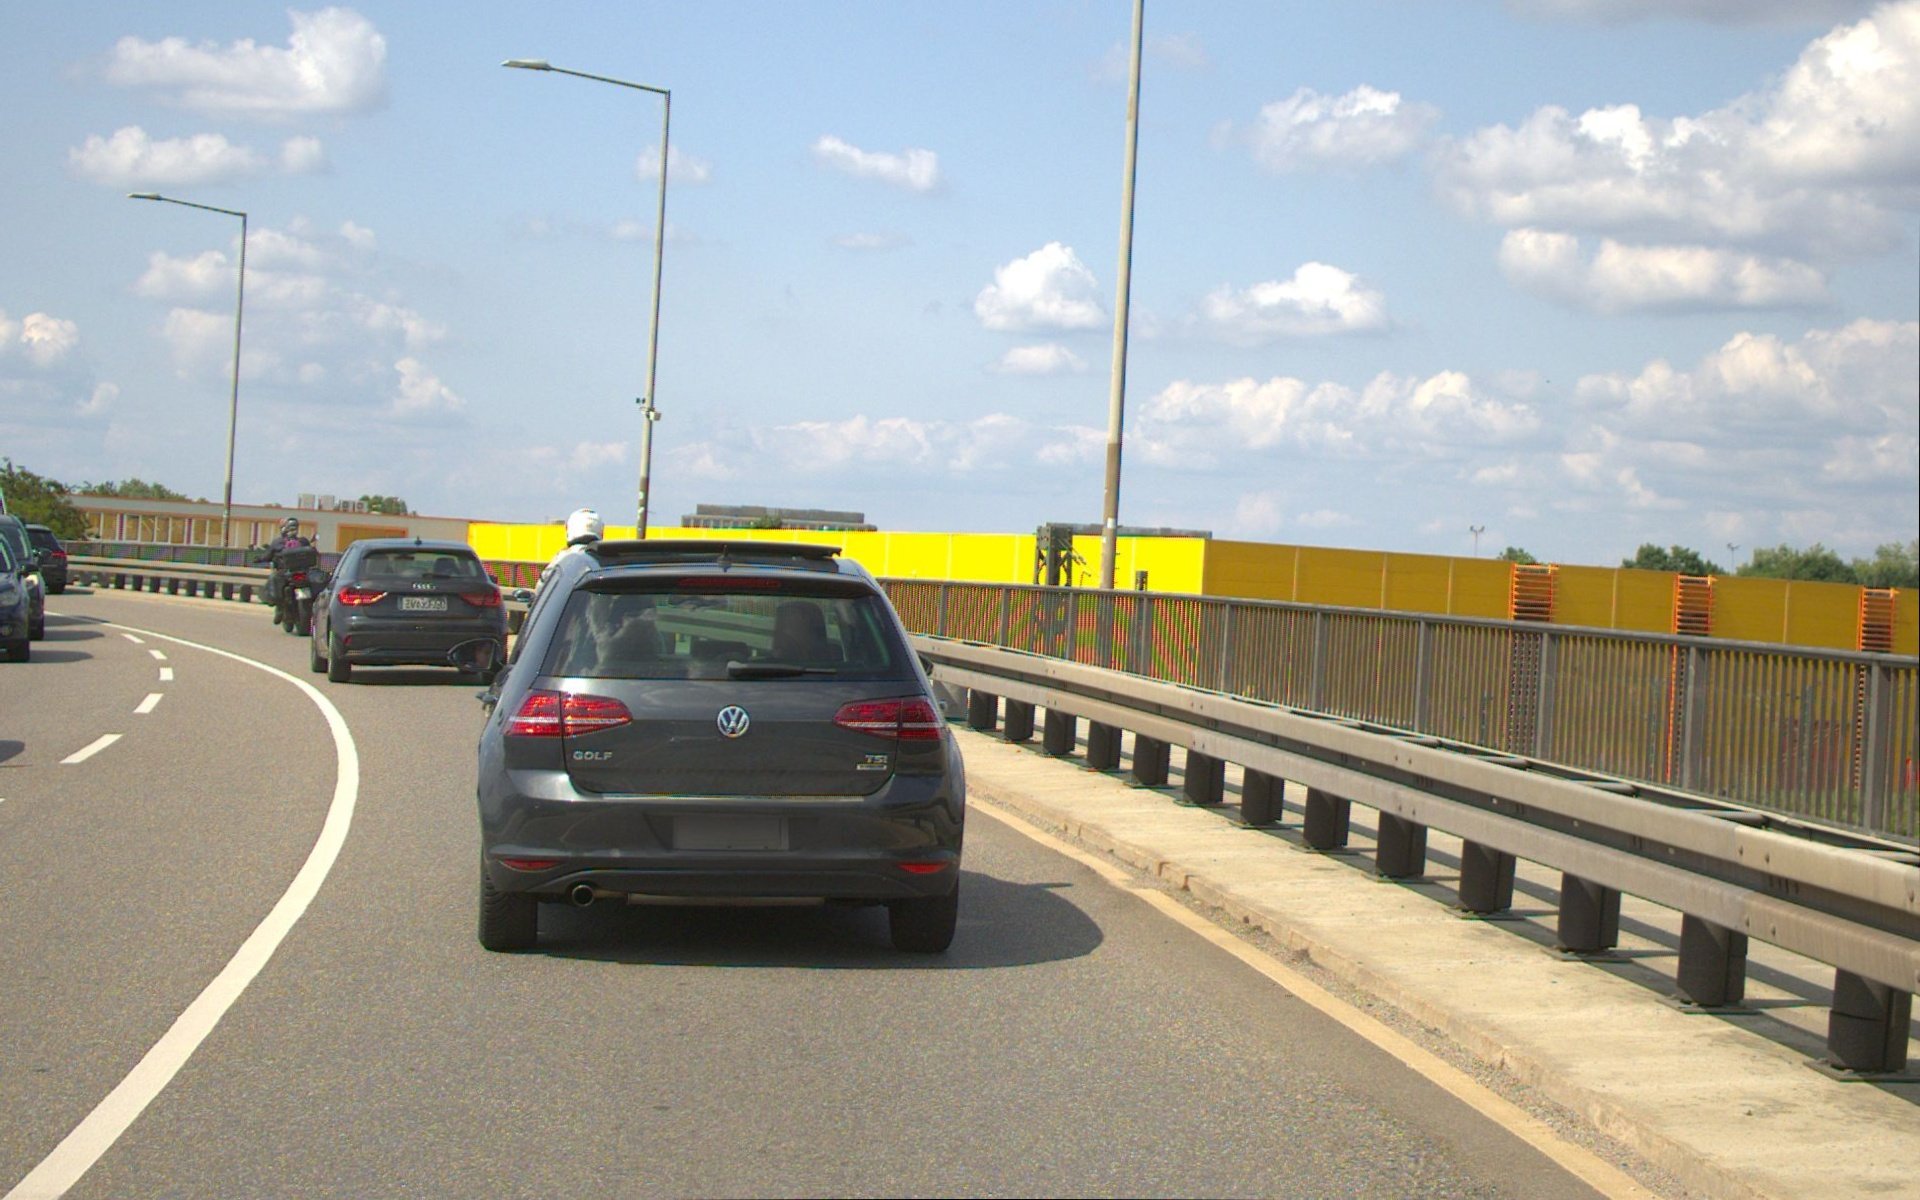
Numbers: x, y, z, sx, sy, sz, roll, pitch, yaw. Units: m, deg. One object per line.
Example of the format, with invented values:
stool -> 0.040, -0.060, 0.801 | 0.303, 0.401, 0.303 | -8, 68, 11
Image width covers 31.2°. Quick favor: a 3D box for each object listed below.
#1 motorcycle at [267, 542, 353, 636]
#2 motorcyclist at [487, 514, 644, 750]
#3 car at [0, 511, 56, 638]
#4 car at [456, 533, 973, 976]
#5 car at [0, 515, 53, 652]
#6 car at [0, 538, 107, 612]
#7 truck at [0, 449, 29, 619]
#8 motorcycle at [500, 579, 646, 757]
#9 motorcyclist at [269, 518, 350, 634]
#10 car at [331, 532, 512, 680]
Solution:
motorcycle -> -9.178, -0.171, 48.507 | 0.887, 1.243, 2.400 | 2, 1, -17
motorcyclist -> -2.810, 0.214, 24.397 | 0.965, 1.615, 1.125 | 2, 1, -11
car -> -13.163, -0.376, 46.380 | 1.717, 1.626, 4.429 | 0, 1, -16
car -> -1.103, 0.507, 13.577 | 1.642, 1.474, 3.873 | 2, 0, -9
car -> -11.225, -0.229, 38.469 | 1.658, 1.449, 4.328 | 1, 1, -9
car -> -19.386, -0.542, 72.839 | 1.642, 1.474, 3.873 | 1, 1, -28
truck -> -15.918, -1.055, 52.897 | 1.993, 2.499, 5.949 | 0, 1, -26
motorcycle -> -2.746, 0.451, 24.191 | 0.789, 1.128, 2.400 | 2, 1, -11
motorcyclist -> -9.206, -0.342, 48.642 | 0.965, 1.590, 1.125 | 2, 1, -17
car -> -5.405, 0.058, 34.563 | 1.681, 1.383, 3.740 | 1, 0, -9
